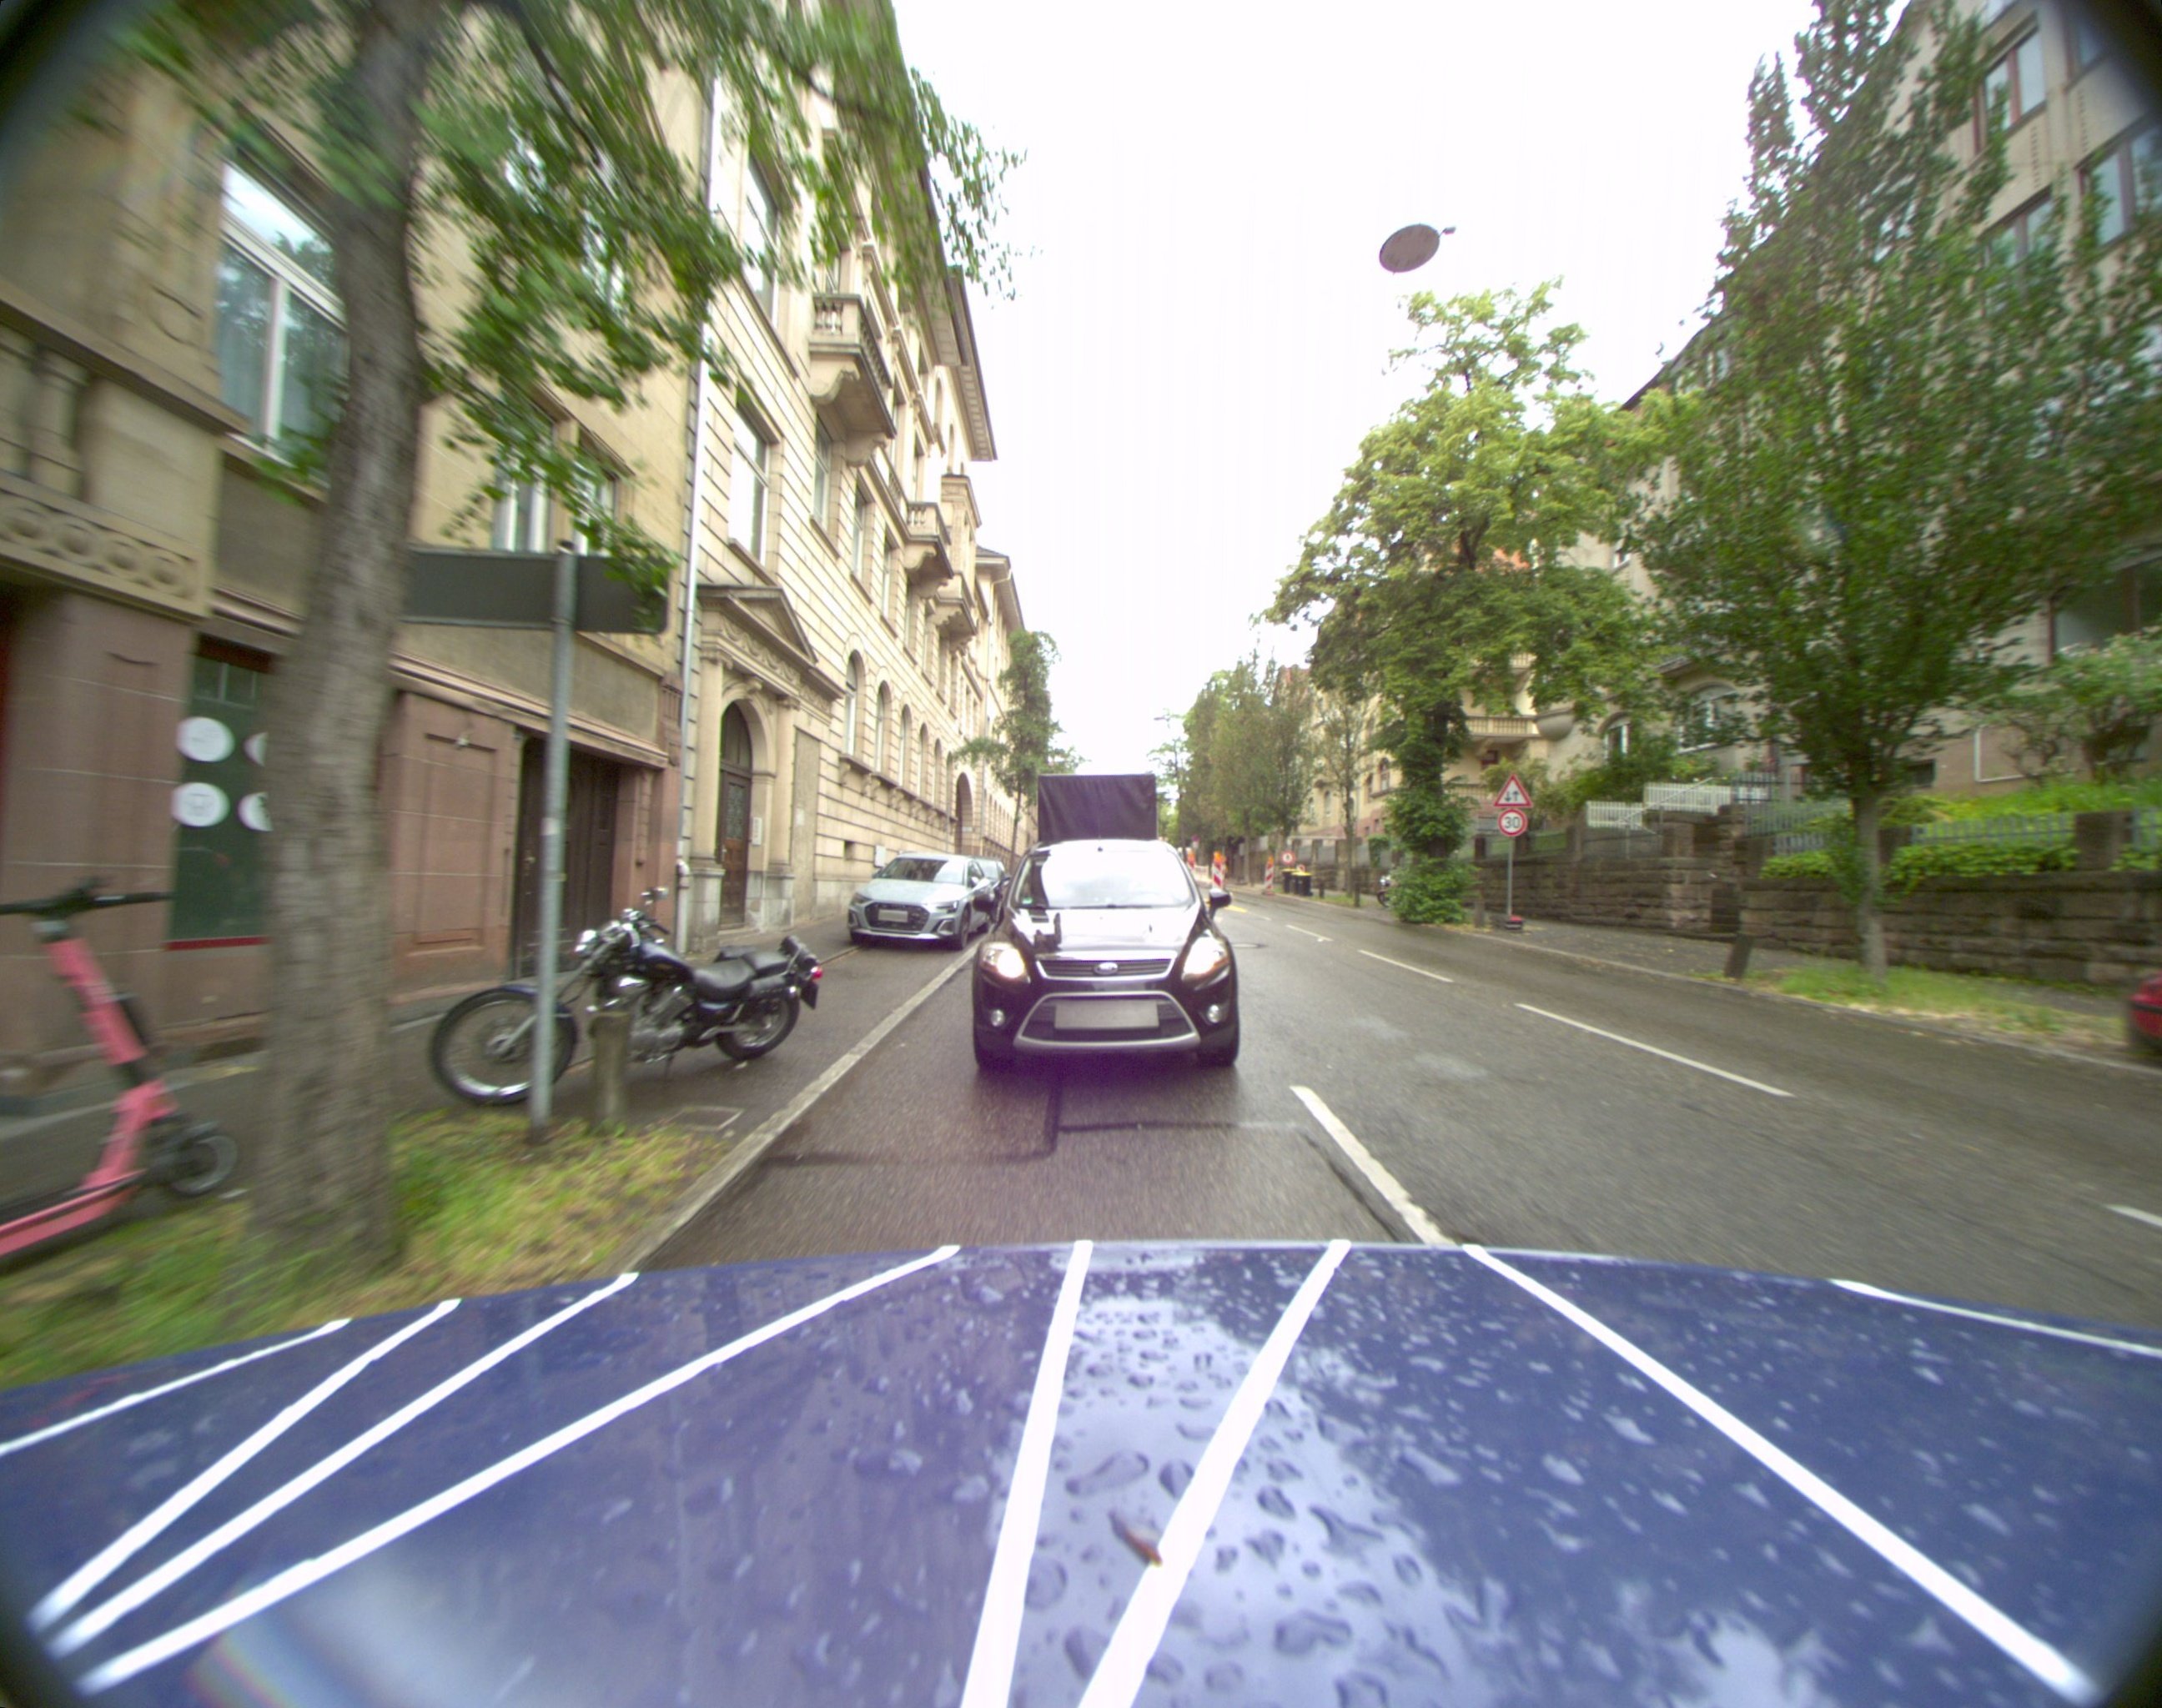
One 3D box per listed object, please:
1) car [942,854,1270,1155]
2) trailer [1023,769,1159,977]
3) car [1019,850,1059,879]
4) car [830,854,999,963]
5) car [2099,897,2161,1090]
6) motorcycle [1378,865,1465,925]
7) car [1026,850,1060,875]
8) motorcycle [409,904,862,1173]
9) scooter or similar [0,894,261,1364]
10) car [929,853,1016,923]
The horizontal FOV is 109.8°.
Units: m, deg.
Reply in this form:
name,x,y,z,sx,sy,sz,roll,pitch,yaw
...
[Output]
name,x,y,z,sx,sy,sz,roll,pitch,yaw
car,0.193,0.838,6.501,1.823,1.662,4.522,0,0,1
trailer,0.135,0.223,12.454,1.783,2.744,4.816,0,1,0
car,-2.411,0.576,44.314,1.910,1.503,4.318,3,0,1
car,-2.599,0.780,12.858,1.794,1.444,4.039,3,0,1
car,8.966,1.076,4.064,1.617,1.442,4.063,0,0,1
motorcycle,8.897,1.021,20.064,0.802,1.406,3.061,-1,0,-2
car,-2.560,0.559,52.417,1.910,1.503,4.318,3,0,1
motorcycle,-2.516,0.947,4.656,0.523,1.236,2.282,4,0,39
scooter or similar,-3.413,0.815,2.275,0.595,1.310,1.203,2,1,1
car,-2.518,0.755,18.309,1.495,1.440,3.181,3,0,1
